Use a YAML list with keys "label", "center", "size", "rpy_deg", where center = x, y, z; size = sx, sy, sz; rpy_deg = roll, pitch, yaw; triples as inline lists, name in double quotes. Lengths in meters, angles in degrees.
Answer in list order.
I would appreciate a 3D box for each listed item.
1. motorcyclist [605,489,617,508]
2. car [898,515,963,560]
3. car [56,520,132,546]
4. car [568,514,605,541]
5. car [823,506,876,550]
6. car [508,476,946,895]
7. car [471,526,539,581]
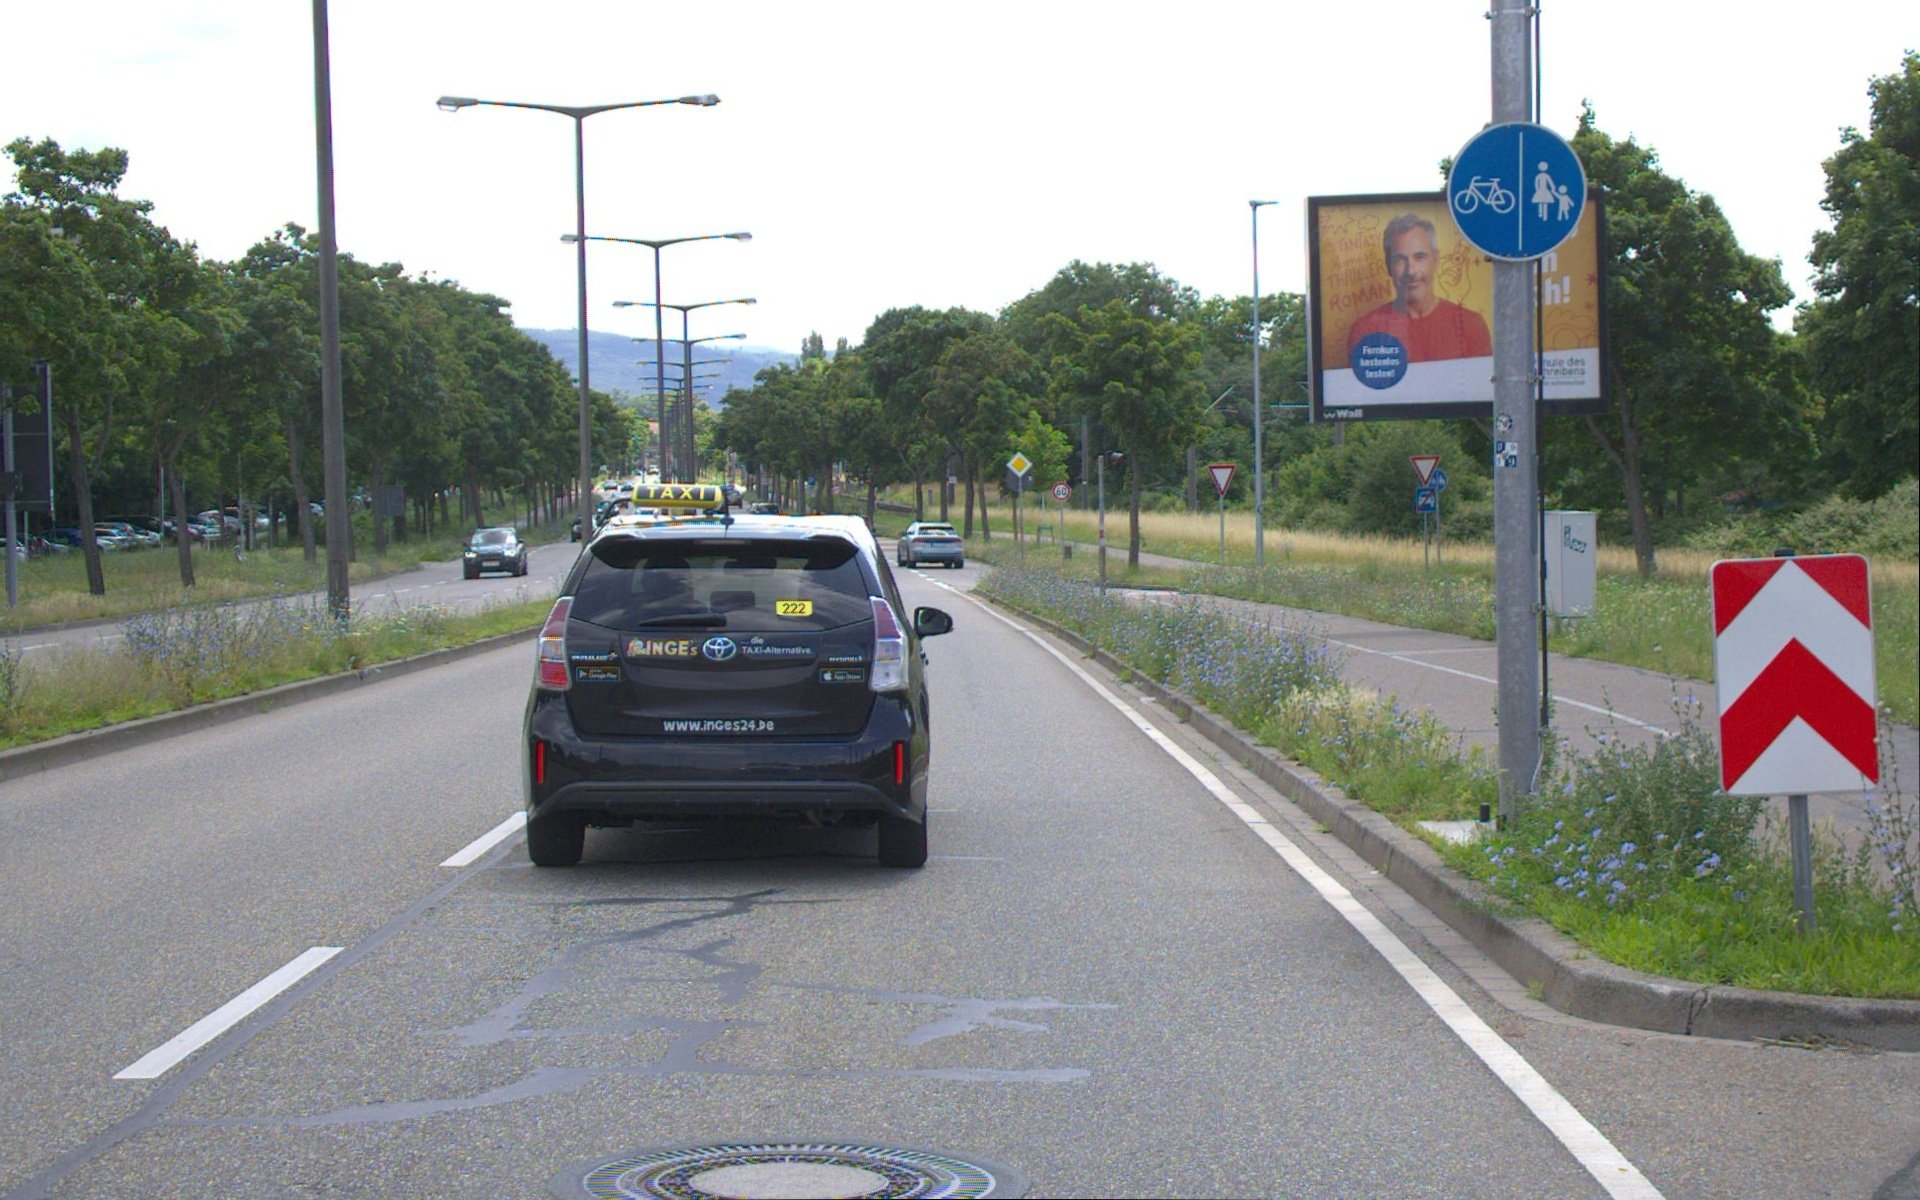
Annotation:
- label: "motorcyclist"
  center: [-26.000, -7.546, 256.003]
  size: [0.827, 1.409, 1.329]
  rpy_deg: [0, 2, -4]
- label: "car"
  center: [-1.093, -2.263, 124.130]
  size: [1.993, 1.503, 4.001]
  rpy_deg: [0, 2, -6]
- label: "car"
  center: [-48.026, -3.702, 190.648]
  size: [3.785, 1.383, 1.786]
  rpy_deg: [1, 2, 0]
- label: "car"
  center: [-20.958, -4.065, 192.810]
  size: [1.700, 1.422, 3.676]
  rpy_deg: [-1, 1, -12]
- label: "car"
  center: [-4.390, -2.871, 136.615]
  size: [1.993, 1.656, 4.001]
  rpy_deg: [0, 2, -3]
- label: "car"
  center: [-1.079, 0.285, 16.051]
  size: [1.779, 1.678, 4.001]
  rpy_deg: [0, 2, -4]
- label: "car"
  center: [-15.947, -1.649, 120.650]
  size: [1.876, 1.784, 4.729]
  rpy_deg: [-3, 1, -3]
